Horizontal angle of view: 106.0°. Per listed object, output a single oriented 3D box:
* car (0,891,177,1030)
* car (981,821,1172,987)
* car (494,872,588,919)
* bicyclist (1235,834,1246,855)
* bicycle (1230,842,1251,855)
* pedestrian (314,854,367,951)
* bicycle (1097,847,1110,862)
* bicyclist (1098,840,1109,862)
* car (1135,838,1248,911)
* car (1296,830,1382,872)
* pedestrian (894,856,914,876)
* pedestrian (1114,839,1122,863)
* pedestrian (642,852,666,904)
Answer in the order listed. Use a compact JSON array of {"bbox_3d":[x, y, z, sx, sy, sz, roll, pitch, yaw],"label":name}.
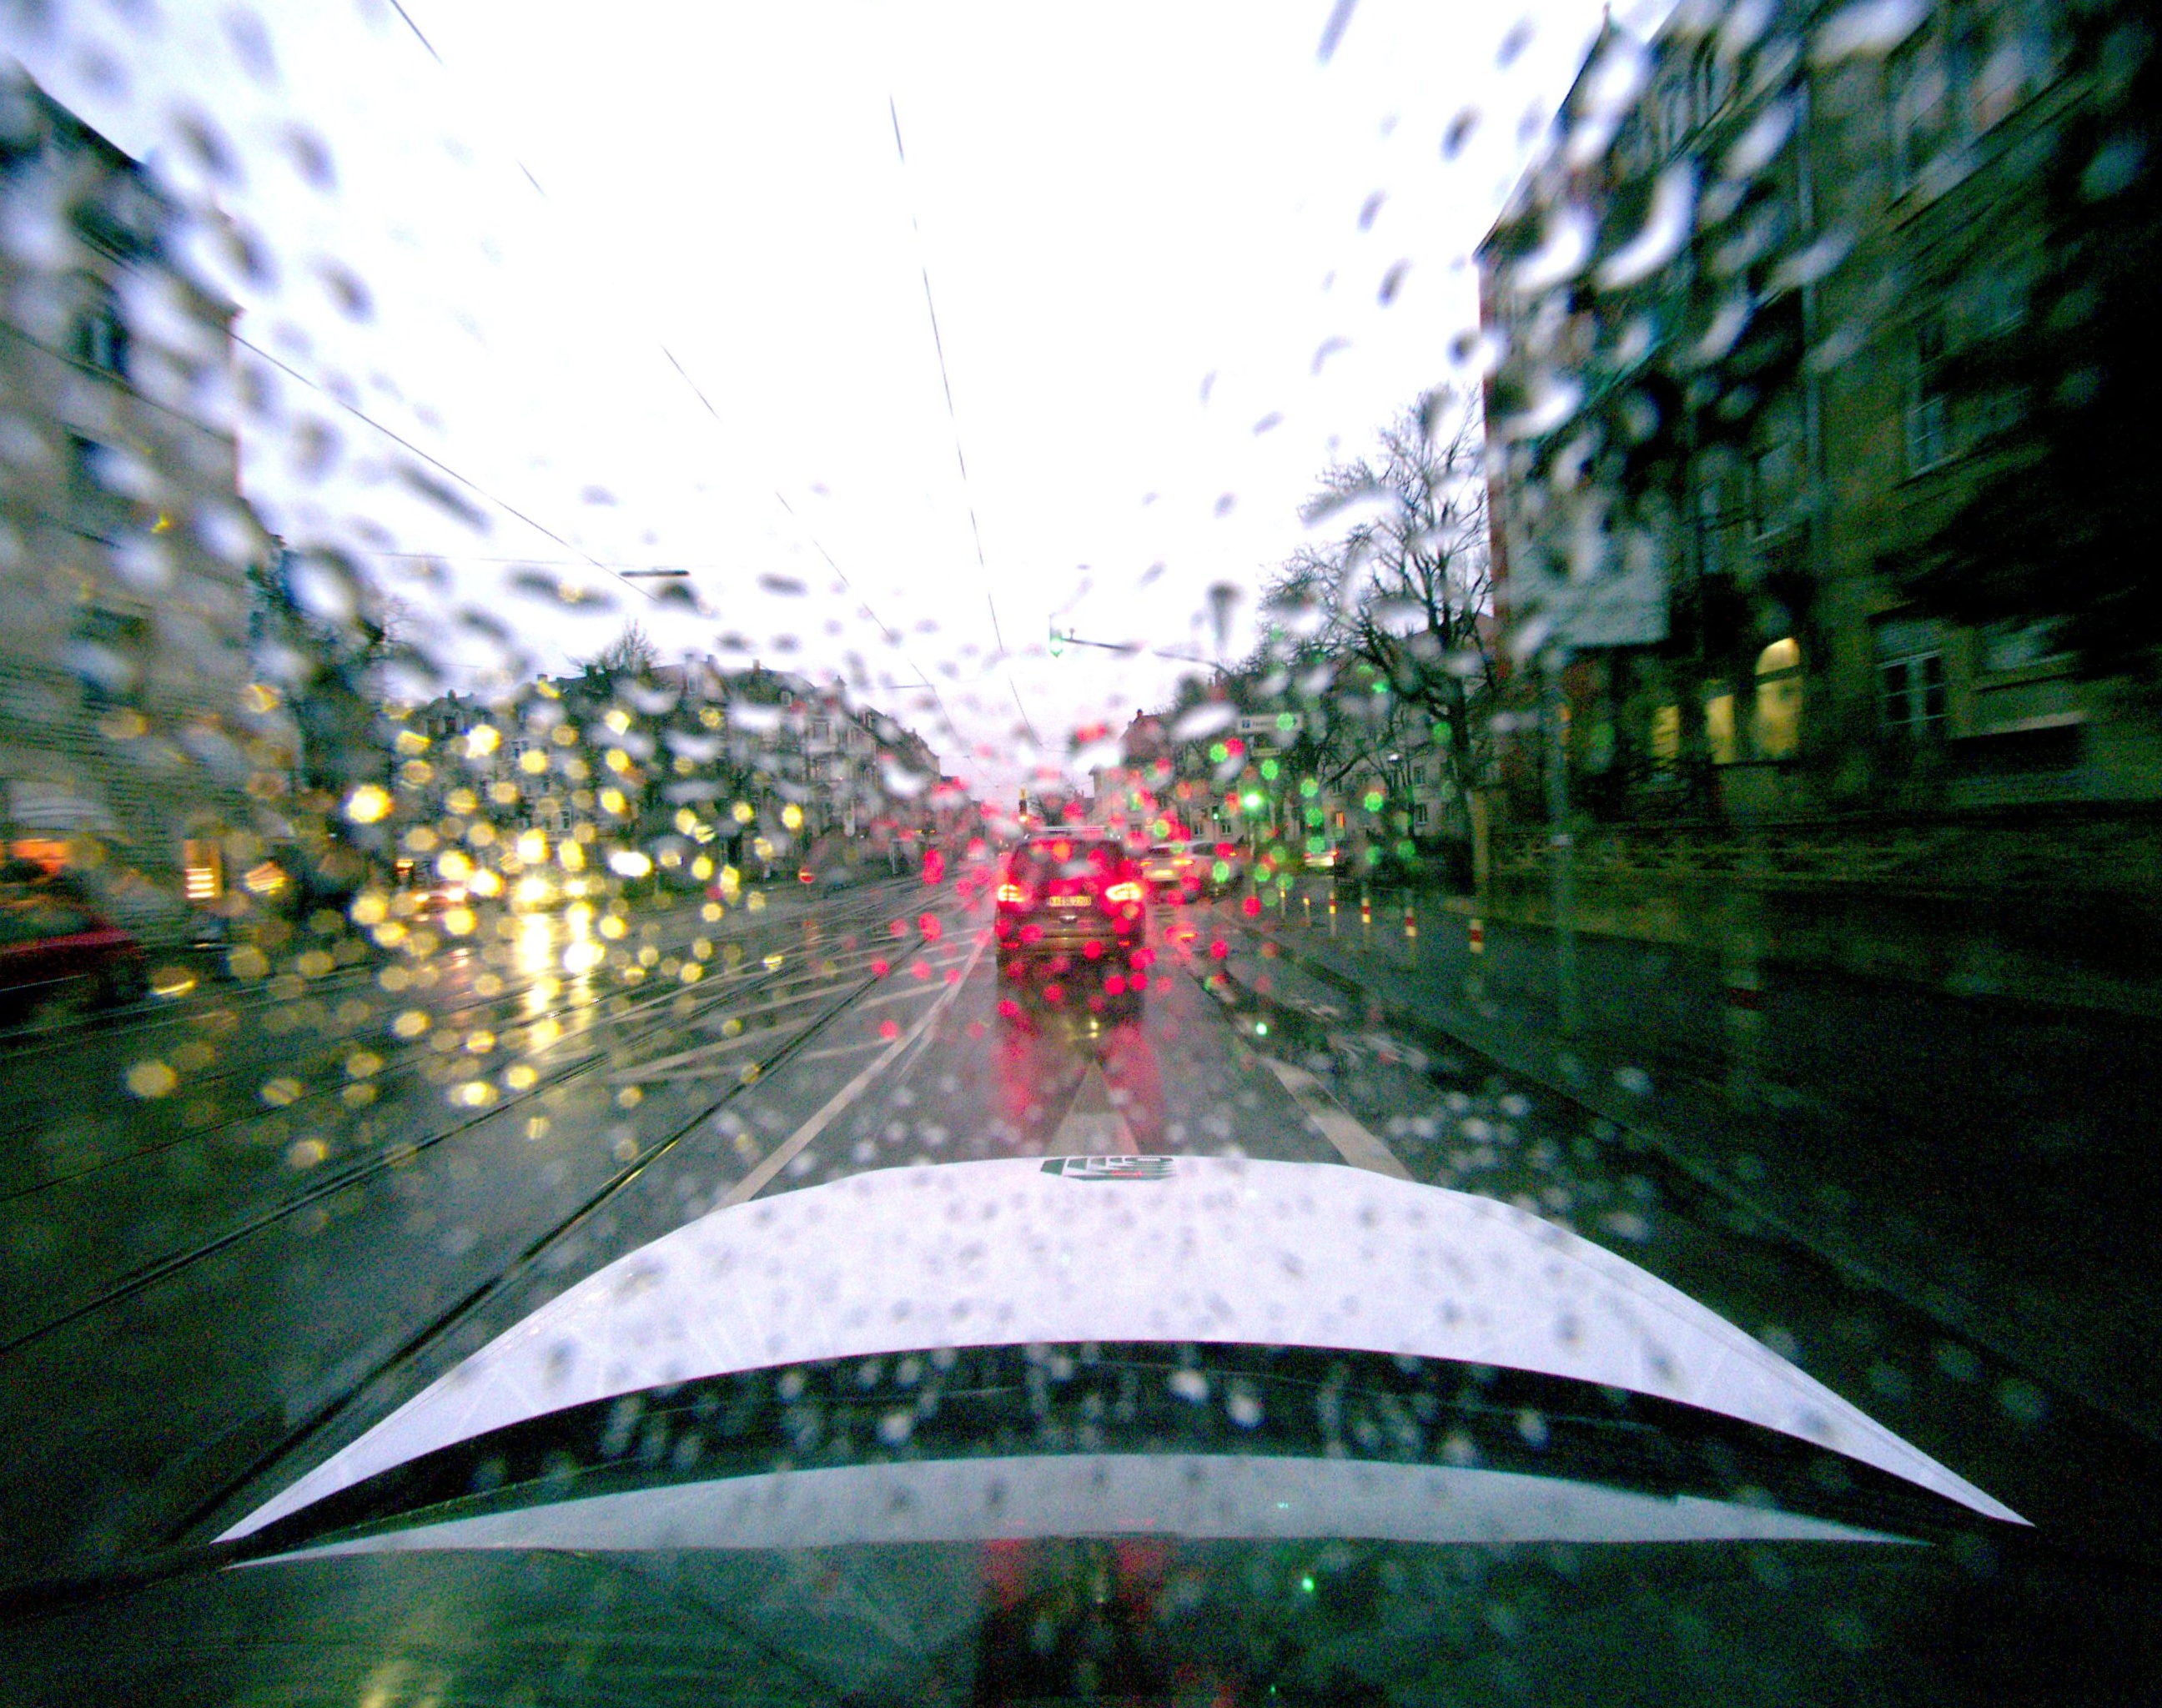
[{"bbox_3d":[-14.310,1.365,10.066,2.036,1.551,4.021,1,1,-8],"label":"car"},{"bbox_3d":[-0.059,0.533,11.401,2.097,1.816,4.659,-1,0,0],"label":"car"},{"bbox_3d":[-21.874,1.642,32.937,3.948,1.673,2.035,-2,1,39],"label":"car"},{"bbox_3d":[15.277,-0.934,77.870,0.799,1.919,0.712,-2,0,29],"label":"bicyclist"},{"bbox_3d":[15.269,-0.559,77.879,1.832,1.183,0.718,-2,0,29],"label":"bicycle"},{"bbox_3d":[-15.956,1.032,17.550,0.748,2.013,0.652,-2,0,33],"label":"pedestrian"},{"bbox_3d":[1.729,0.040,63.448,0.716,1.112,1.937,1,0,-7],"label":"bicycle"},{"bbox_3d":[1.726,-0.237,63.514,0.716,1.662,1.054,1,0,-7],"label":"bicyclist"},{"bbox_3d":[3.475,0.567,24.957,1.692,2.013,4.327,-2,0,33],"label":"car"},{"bbox_3d":[10.909,-0.147,34.302,4.023,1.662,1.693,-2,0,-44],"label":"car"},{"bbox_3d":[-10.946,0.715,50.410,1.045,1.200,0.884,-2,0,-2],"label":"pedestrian"},{"bbox_3d":[3.181,-0.265,70.214,0.593,2.013,0.631,-2,0,1],"label":"pedestrian"},{"bbox_3d":[-17.018,0.962,32.447,0.707,2.013,0.656,-3,0,-22],"label":"pedestrian"}]
